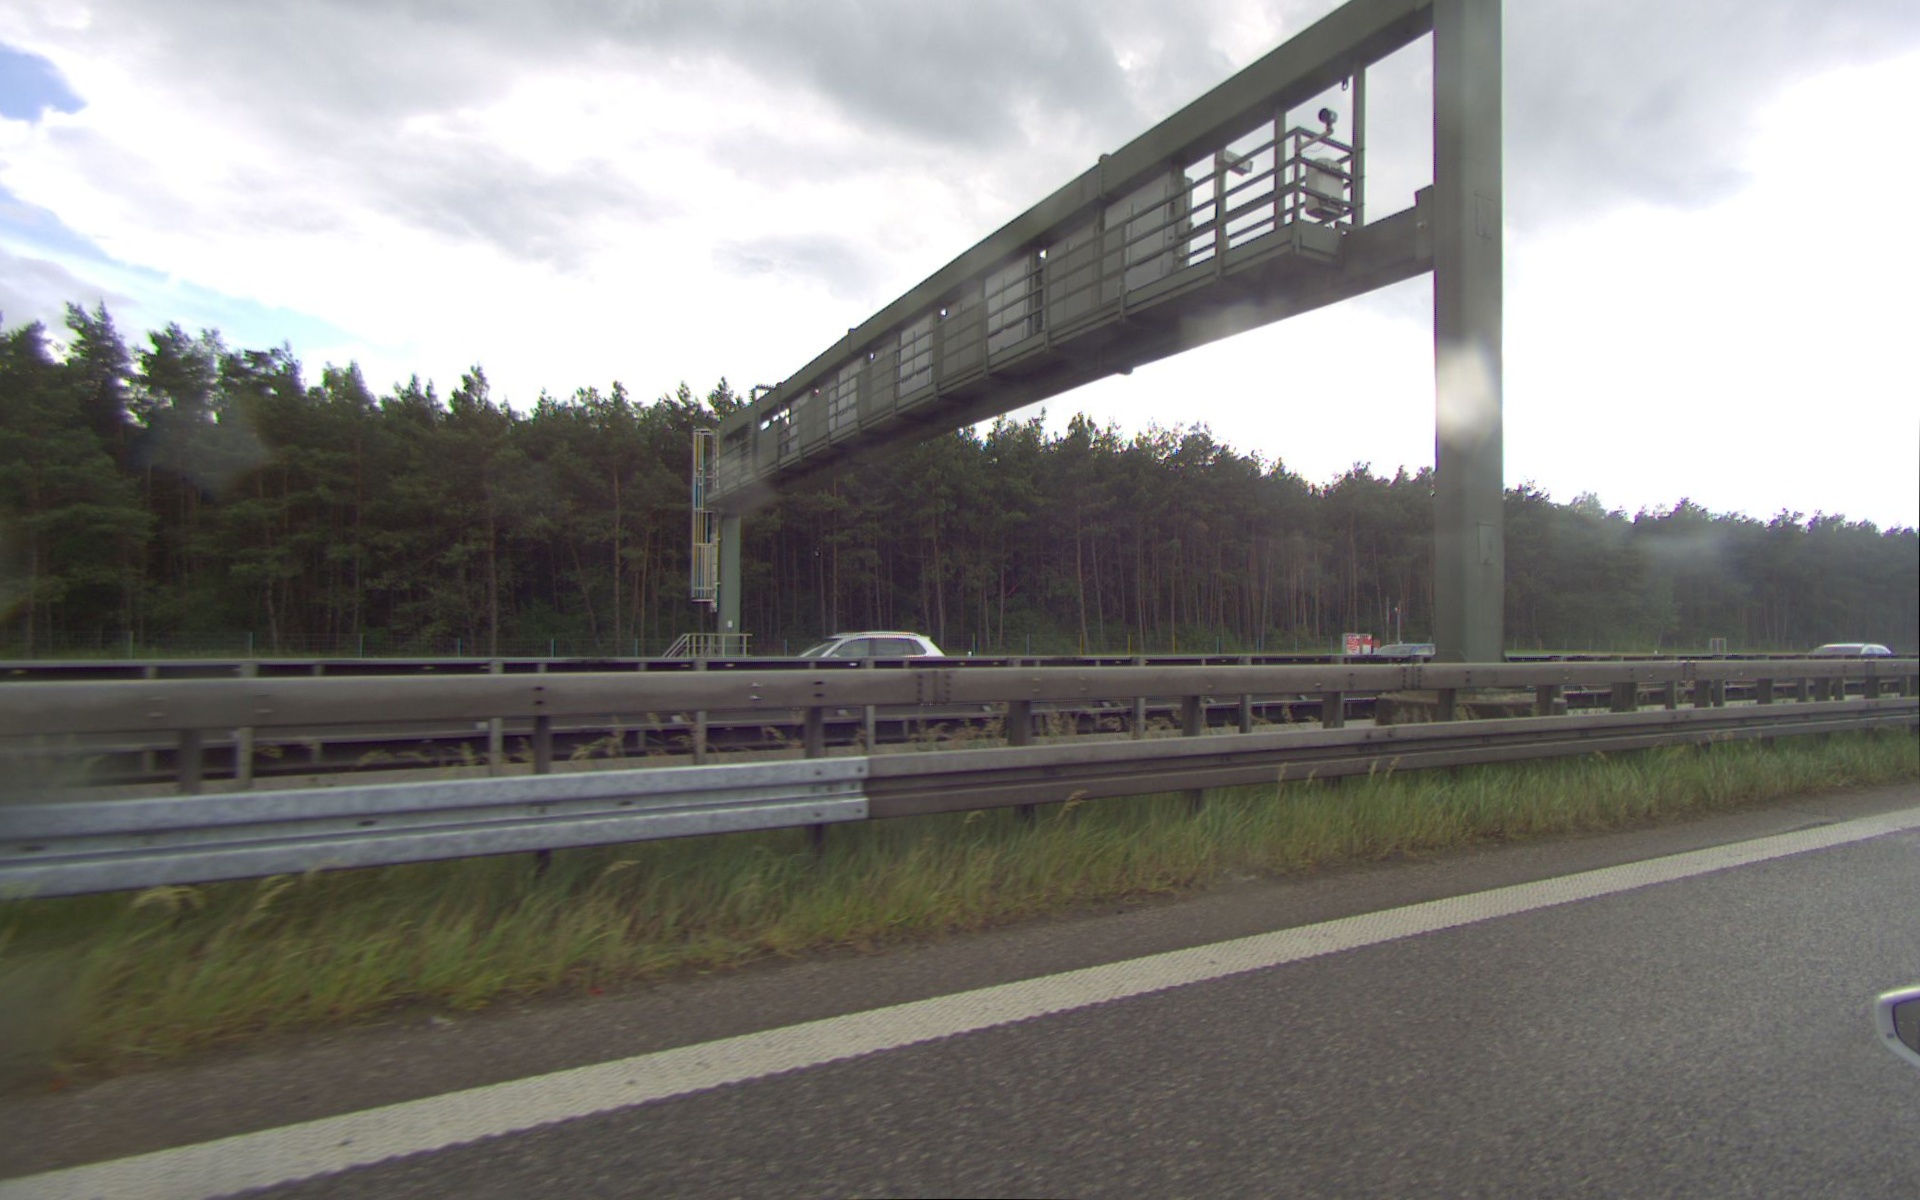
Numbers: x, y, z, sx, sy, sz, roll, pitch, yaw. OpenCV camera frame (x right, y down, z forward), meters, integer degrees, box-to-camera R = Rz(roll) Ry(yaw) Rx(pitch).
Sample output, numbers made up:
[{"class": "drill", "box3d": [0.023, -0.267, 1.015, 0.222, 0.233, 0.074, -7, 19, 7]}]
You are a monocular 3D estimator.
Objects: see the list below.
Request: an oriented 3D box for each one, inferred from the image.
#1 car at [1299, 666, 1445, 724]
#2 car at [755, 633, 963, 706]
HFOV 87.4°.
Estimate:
[{"class": "car", "box3d": [11.372, 2.572, 27.676, 3.953, 1.394, 1.735, 2, -2, -31]}, {"class": "car", "box3d": [-1.989, 1.338, 19.980, 3.797, 1.274, 1.617, 2, -1, -30]}]
